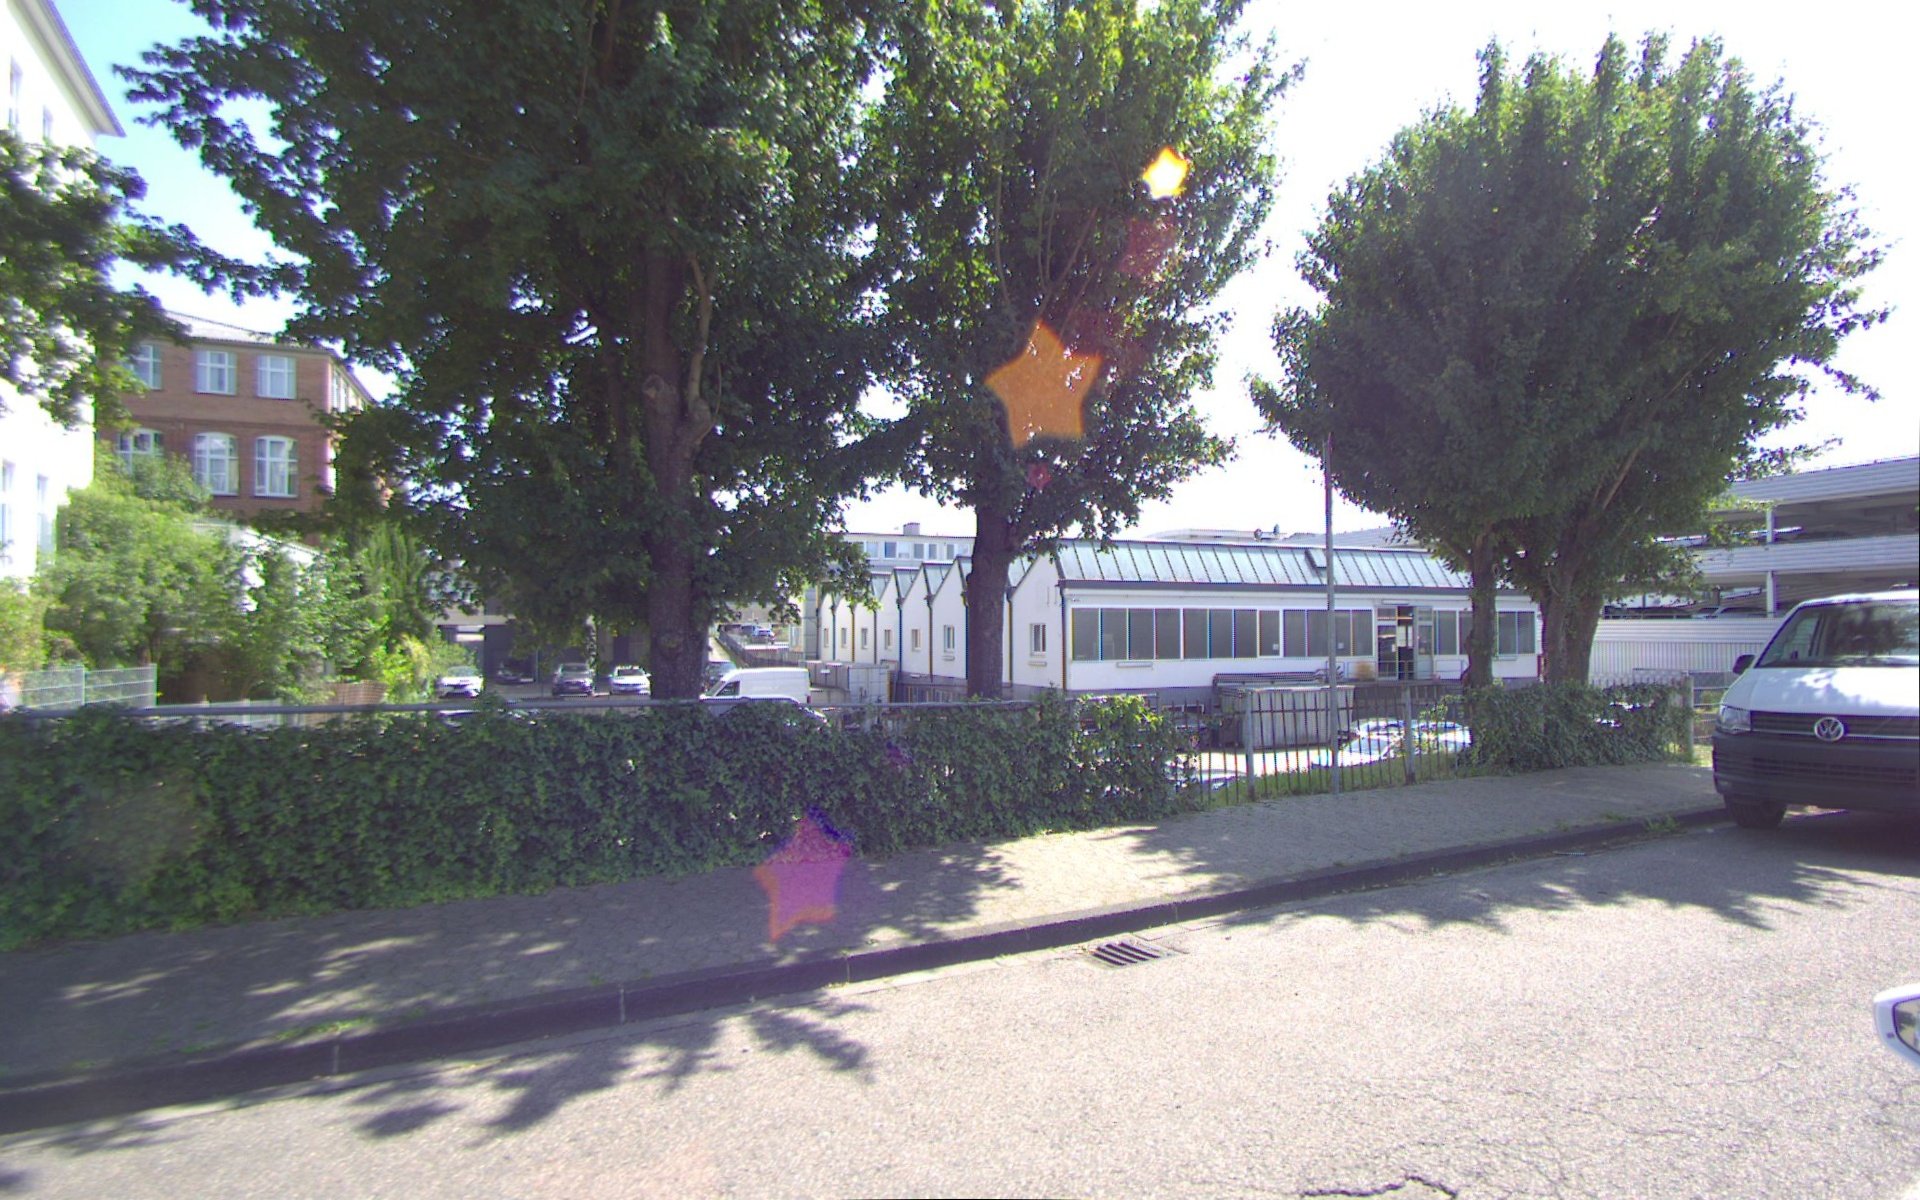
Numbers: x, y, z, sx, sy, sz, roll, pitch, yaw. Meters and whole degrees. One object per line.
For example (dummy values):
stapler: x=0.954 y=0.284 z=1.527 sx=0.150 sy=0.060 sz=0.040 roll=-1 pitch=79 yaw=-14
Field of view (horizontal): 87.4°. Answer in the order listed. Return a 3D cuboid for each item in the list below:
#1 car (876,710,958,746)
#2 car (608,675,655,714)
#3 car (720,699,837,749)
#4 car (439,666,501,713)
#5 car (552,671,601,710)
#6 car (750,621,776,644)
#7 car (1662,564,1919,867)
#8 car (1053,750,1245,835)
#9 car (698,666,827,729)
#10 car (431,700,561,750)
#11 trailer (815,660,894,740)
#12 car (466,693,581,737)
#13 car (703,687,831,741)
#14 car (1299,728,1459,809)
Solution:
car: x=-2.076 y=6.106 z=48.169 sx=3.544 sy=1.537 sz=1.784 roll=2 pitch=-4 yaw=-21
car: x=-16.688 y=4.757 z=50.901 sx=2.084 sy=1.699 sz=4.583 roll=2 pitch=-3 yaw=-19
car: x=-6.769 y=4.579 z=37.433 sx=3.944 sy=1.705 sz=1.990 roll=2 pitch=-4 yaw=-23
car: x=-23.633 y=4.281 z=48.594 sx=2.084 sy=1.700 sz=4.581 roll=2 pitch=2 yaw=-19
car: x=-18.964 y=4.456 z=49.876 sx=2.084 sy=1.699 sz=4.583 roll=2 pitch=-3 yaw=-19
car: x=-19.244 y=3.203 z=98.004 sx=1.969 sy=2.039 sz=3.984 roll=2 pitch=-4 yaw=-19
car: x=8.373 y=0.888 z=8.525 sx=4.996 sy=2.039 sz=1.963 roll=2 pitch=-4 yaw=-30
car: x=4.278 y=4.315 z=22.819 sx=3.940 sy=1.461 sz=1.801 roll=1 pitch=-2 yaw=-21
car: x=-9.657 y=4.709 z=49.067 sx=5.845 sy=2.913 sz=2.433 roll=2 pitch=-4 yaw=-21
car: x=-18.195 y=4.906 z=39.648 sx=4.534 sy=1.699 sz=1.814 roll=0 pitch=-4 yaw=-22
trailer: x=-6.143 y=5.587 z=57.468 sx=2.716 sy=4.047 sz=6.847 roll=0 pitch=-2 yaw=-22
car: x=-19.184 y=5.060 z=44.367 sx=4.534 sy=1.699 sz=1.814 roll=0 pitch=-4 yaw=-22
car: x=-7.938 y=4.638 z=41.307 sx=4.853 sy=2.048 sz=1.991 roll=2 pitch=-3 yaw=-21
car: x=11.822 y=4.659 z=28.270 sx=4.365 sy=1.875 sz=1.910 roll=3 pitch=-3 yaw=-30
